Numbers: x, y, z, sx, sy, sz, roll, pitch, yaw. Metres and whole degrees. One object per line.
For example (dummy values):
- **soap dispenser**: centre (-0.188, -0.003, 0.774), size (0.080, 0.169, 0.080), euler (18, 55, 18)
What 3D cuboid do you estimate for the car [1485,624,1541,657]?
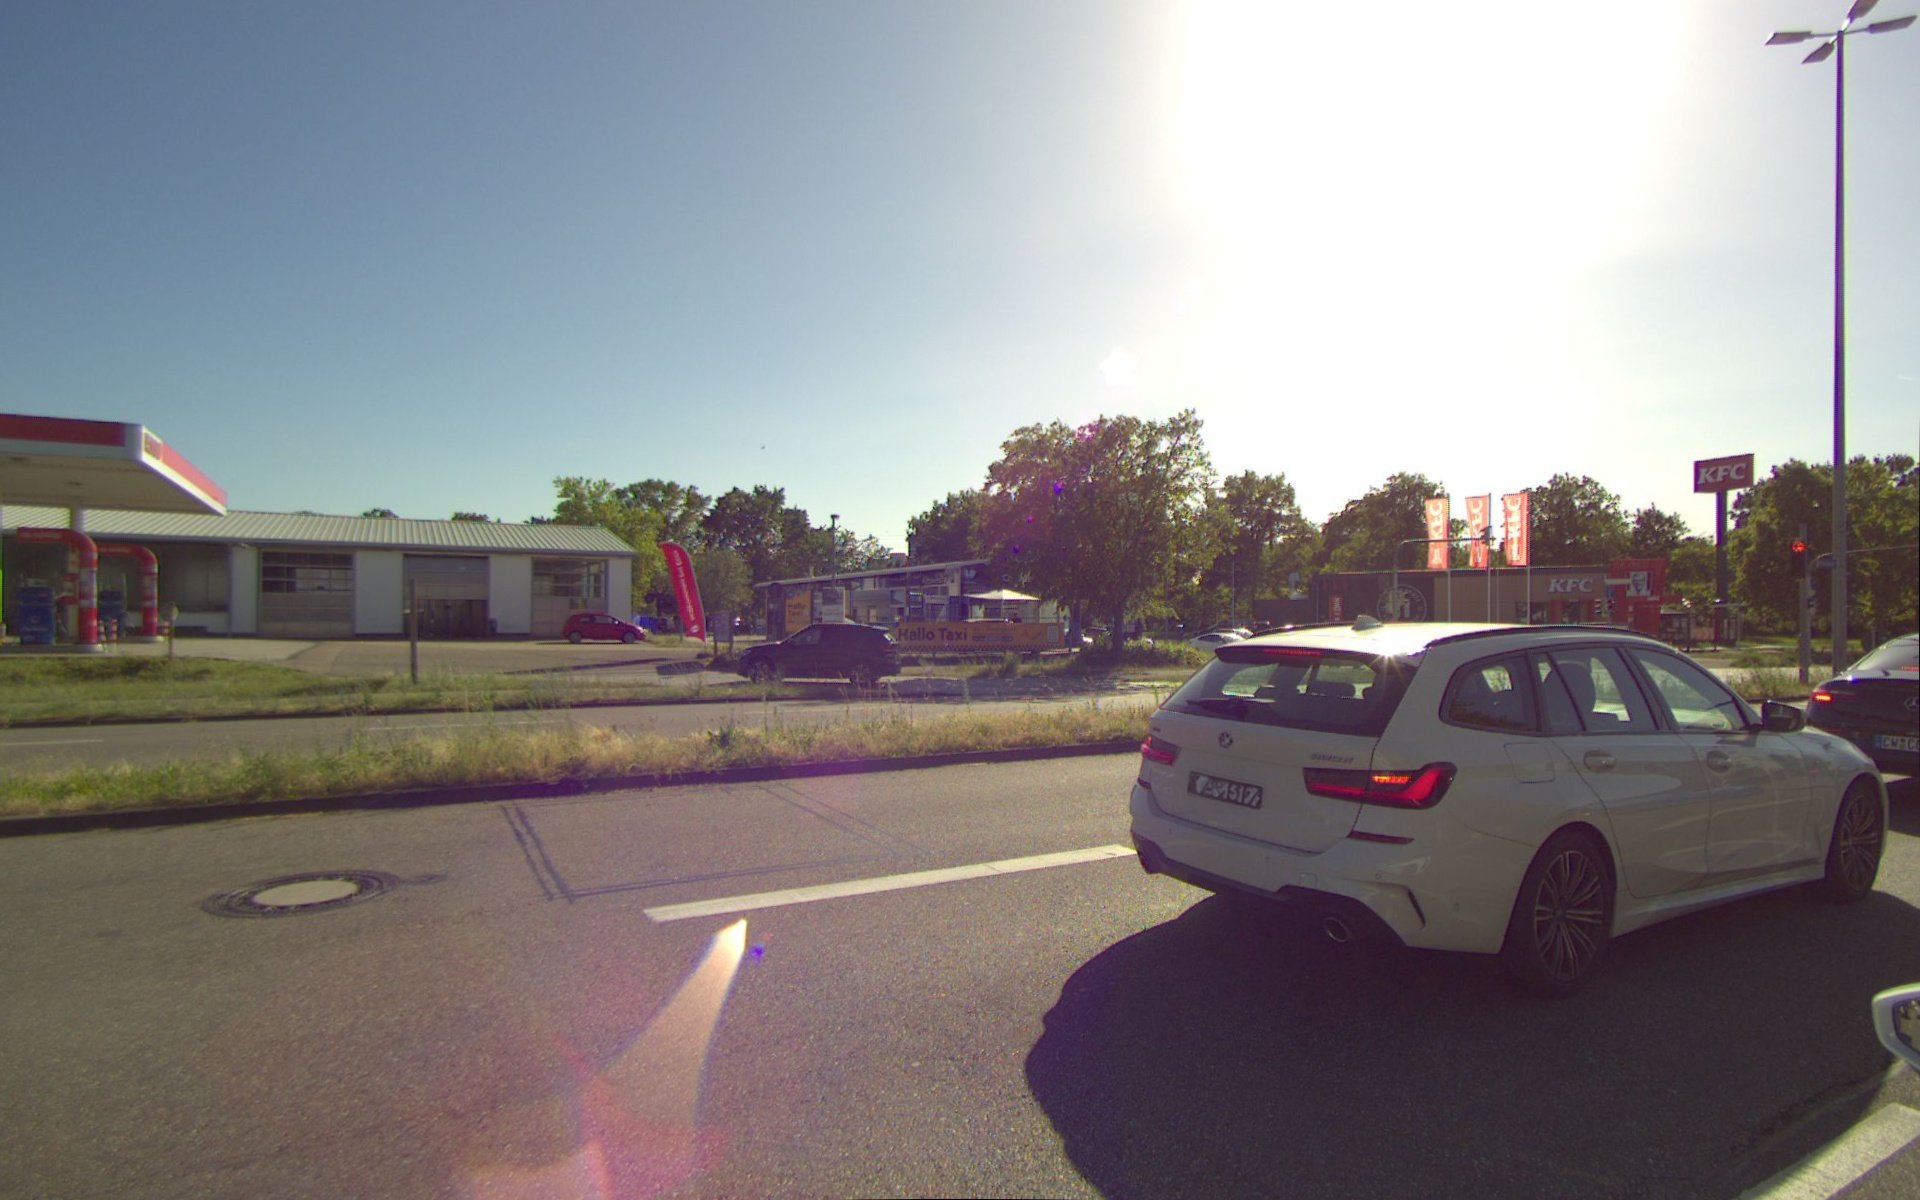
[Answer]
- **car**: centre (33.293, 2.405, 60.549), size (1.896, 1.763, 4.099), euler (2, 0, 14)

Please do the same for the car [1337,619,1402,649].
- **car**: centre (27.839, 2.281, 68.418), size (3.696, 1.837, 2.001), euler (2, 0, 7)

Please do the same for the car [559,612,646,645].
- **car**: centre (-17.682, 1.395, 49.684), size (3.949, 1.491, 1.521), euler (2, 0, -24)

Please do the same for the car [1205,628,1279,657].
- **car**: centre (16.327, 2.446, 58.283), size (1.913, 1.472, 3.937), euler (2, 0, -29)

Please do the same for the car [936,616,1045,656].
- **car**: centre (1.234, 1.450, 40.603), size (3.941, 1.461, 1.990), euler (2, 0, -21)

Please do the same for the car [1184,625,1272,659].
- **car**: centre (14.549, 2.253, 54.770), size (1.914, 1.600, 4.599), euler (2, 0, -31)

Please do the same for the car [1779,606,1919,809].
- **car**: centre (9.388, 0.880, 8.972), size (4.491, 1.572, 1.803), euler (1, 0, -31)

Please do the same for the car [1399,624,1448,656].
- **car**: centre (28.440, 2.423, 61.756), size (1.896, 1.763, 4.099), euler (2, 0, 14)

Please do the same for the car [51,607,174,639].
- **car**: centre (-35.762, 0.980, 42.488), size (3.688, 1.203, 1.667), euler (2, 0, -30)

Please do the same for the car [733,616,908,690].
- **car**: centre (-3.626, 1.366, 26.573), size (4.235, 1.749, 1.809), euler (2, 0, 4)

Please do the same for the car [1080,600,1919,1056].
- **car**: centre (2.996, 0.794, 5.237), size (4.541, 1.506, 1.804), euler (1, 0, -30)

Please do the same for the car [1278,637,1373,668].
- **car**: centre (17.612, 2.501, 48.550), size (1.850, 1.268, 4.062), euler (2, 0, -31)
